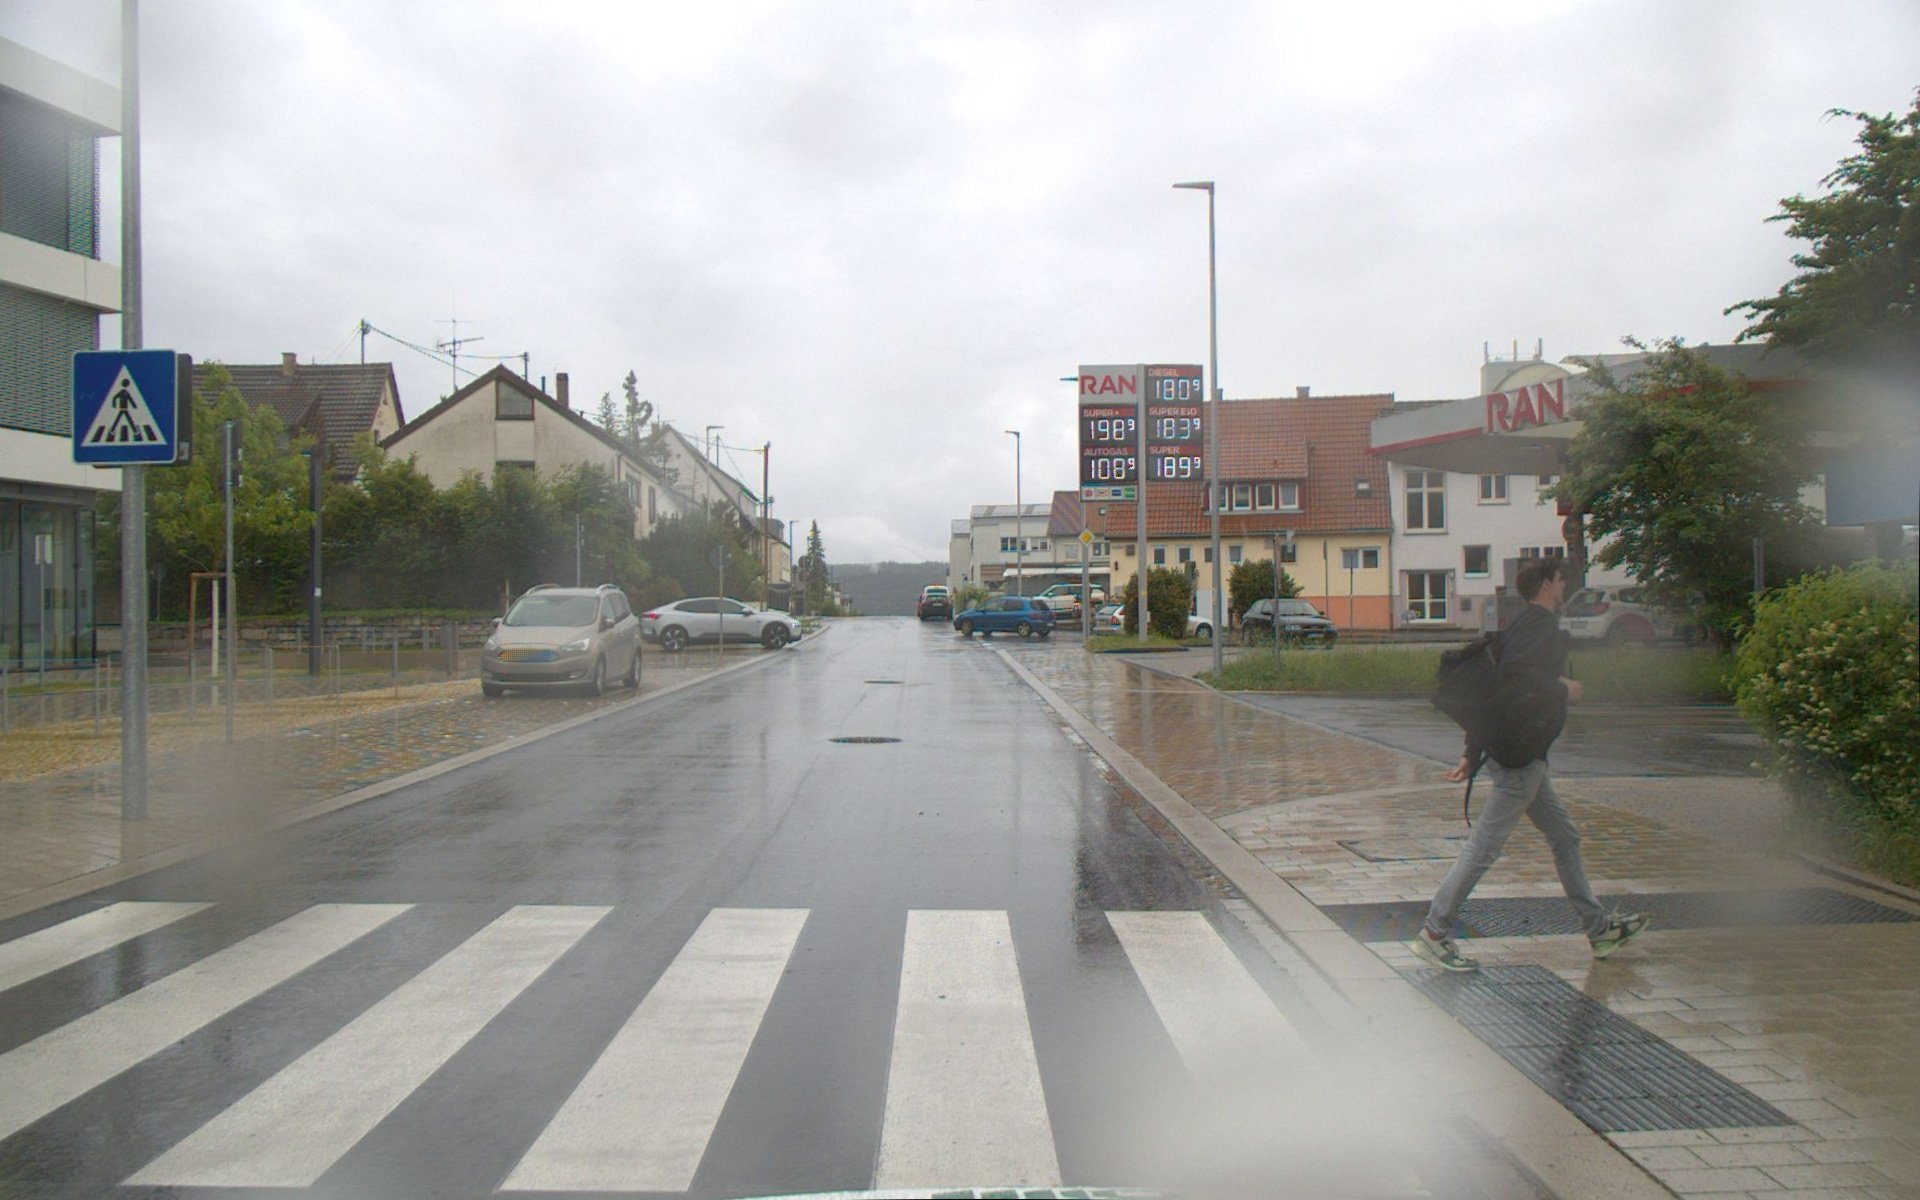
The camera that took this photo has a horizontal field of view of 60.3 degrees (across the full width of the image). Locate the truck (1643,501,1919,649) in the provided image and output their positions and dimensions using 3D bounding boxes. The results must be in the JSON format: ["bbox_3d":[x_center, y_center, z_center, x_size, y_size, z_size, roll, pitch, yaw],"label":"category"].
[{"bbox_3d":[23.111,-0.594,45.931,7.596,3.505,2.668,4,-3,-16],"label":"truck"}]

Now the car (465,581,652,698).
[{"bbox_3d":[-6.183,0.572,25.953,1.953,1.657,4.152,-1,0,-1],"label":"car"}]

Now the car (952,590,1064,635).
[{"bbox_3d":[1.867,0.494,64.330,3.913,1.519,1.854,2,-3,31],"label":"car"}]

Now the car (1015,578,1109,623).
[{"bbox_3d":[4.664,0.033,75.829,4.031,1.736,1.787,3,-2,-4],"label":"car"}]

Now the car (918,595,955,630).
[{"bbox_3d":[-1.297,0.703,91.534,1.953,1.736,3.999,3,-2,-1],"label":"car"}]

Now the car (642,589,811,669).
[{"bbox_3d":[-6.936,0.868,49.011,4.675,2.049,1.992,4,-2,-15],"label":"car"}]

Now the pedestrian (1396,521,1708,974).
[{"bbox_3d":[2.408,0.572,6.821,0.993,1.754,0.772,0,-1,-3],"label":"pedestrian"}]

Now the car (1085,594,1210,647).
[{"bbox_3d":[6.557,0.723,57.743,3.943,1.583,1.936,4,-3,-29],"label":"car"}]

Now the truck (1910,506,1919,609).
[{"bbox_3d":[20.395,-0.858,31.518,1.955,2.049,3.994,3,-2,-6],"label":"truck"}]

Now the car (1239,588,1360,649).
[{"bbox_3d":[9.768,0.574,47.945,1.959,1.579,3.987,4,-2,-12],"label":"car"}]

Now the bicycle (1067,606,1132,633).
[{"bbox_3d":[5.810,0.797,69.216,0.662,1.085,3.589,4,-3,-31],"label":"bicycle"}]

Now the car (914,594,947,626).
[{"bbox_3d":[-1.822,0.643,104.342,1.953,1.736,3.999,3,-2,-1],"label":"car"}]

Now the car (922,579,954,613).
[{"bbox_3d":[-1.288,-0.208,98.302,1.746,1.736,3.999,3,-2,-1],"label":"car"}]

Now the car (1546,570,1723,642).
[{"bbox_3d":[15.775,0.166,38.722,3.465,1.583,1.942,2,-2,-21],"label":"car"}]
